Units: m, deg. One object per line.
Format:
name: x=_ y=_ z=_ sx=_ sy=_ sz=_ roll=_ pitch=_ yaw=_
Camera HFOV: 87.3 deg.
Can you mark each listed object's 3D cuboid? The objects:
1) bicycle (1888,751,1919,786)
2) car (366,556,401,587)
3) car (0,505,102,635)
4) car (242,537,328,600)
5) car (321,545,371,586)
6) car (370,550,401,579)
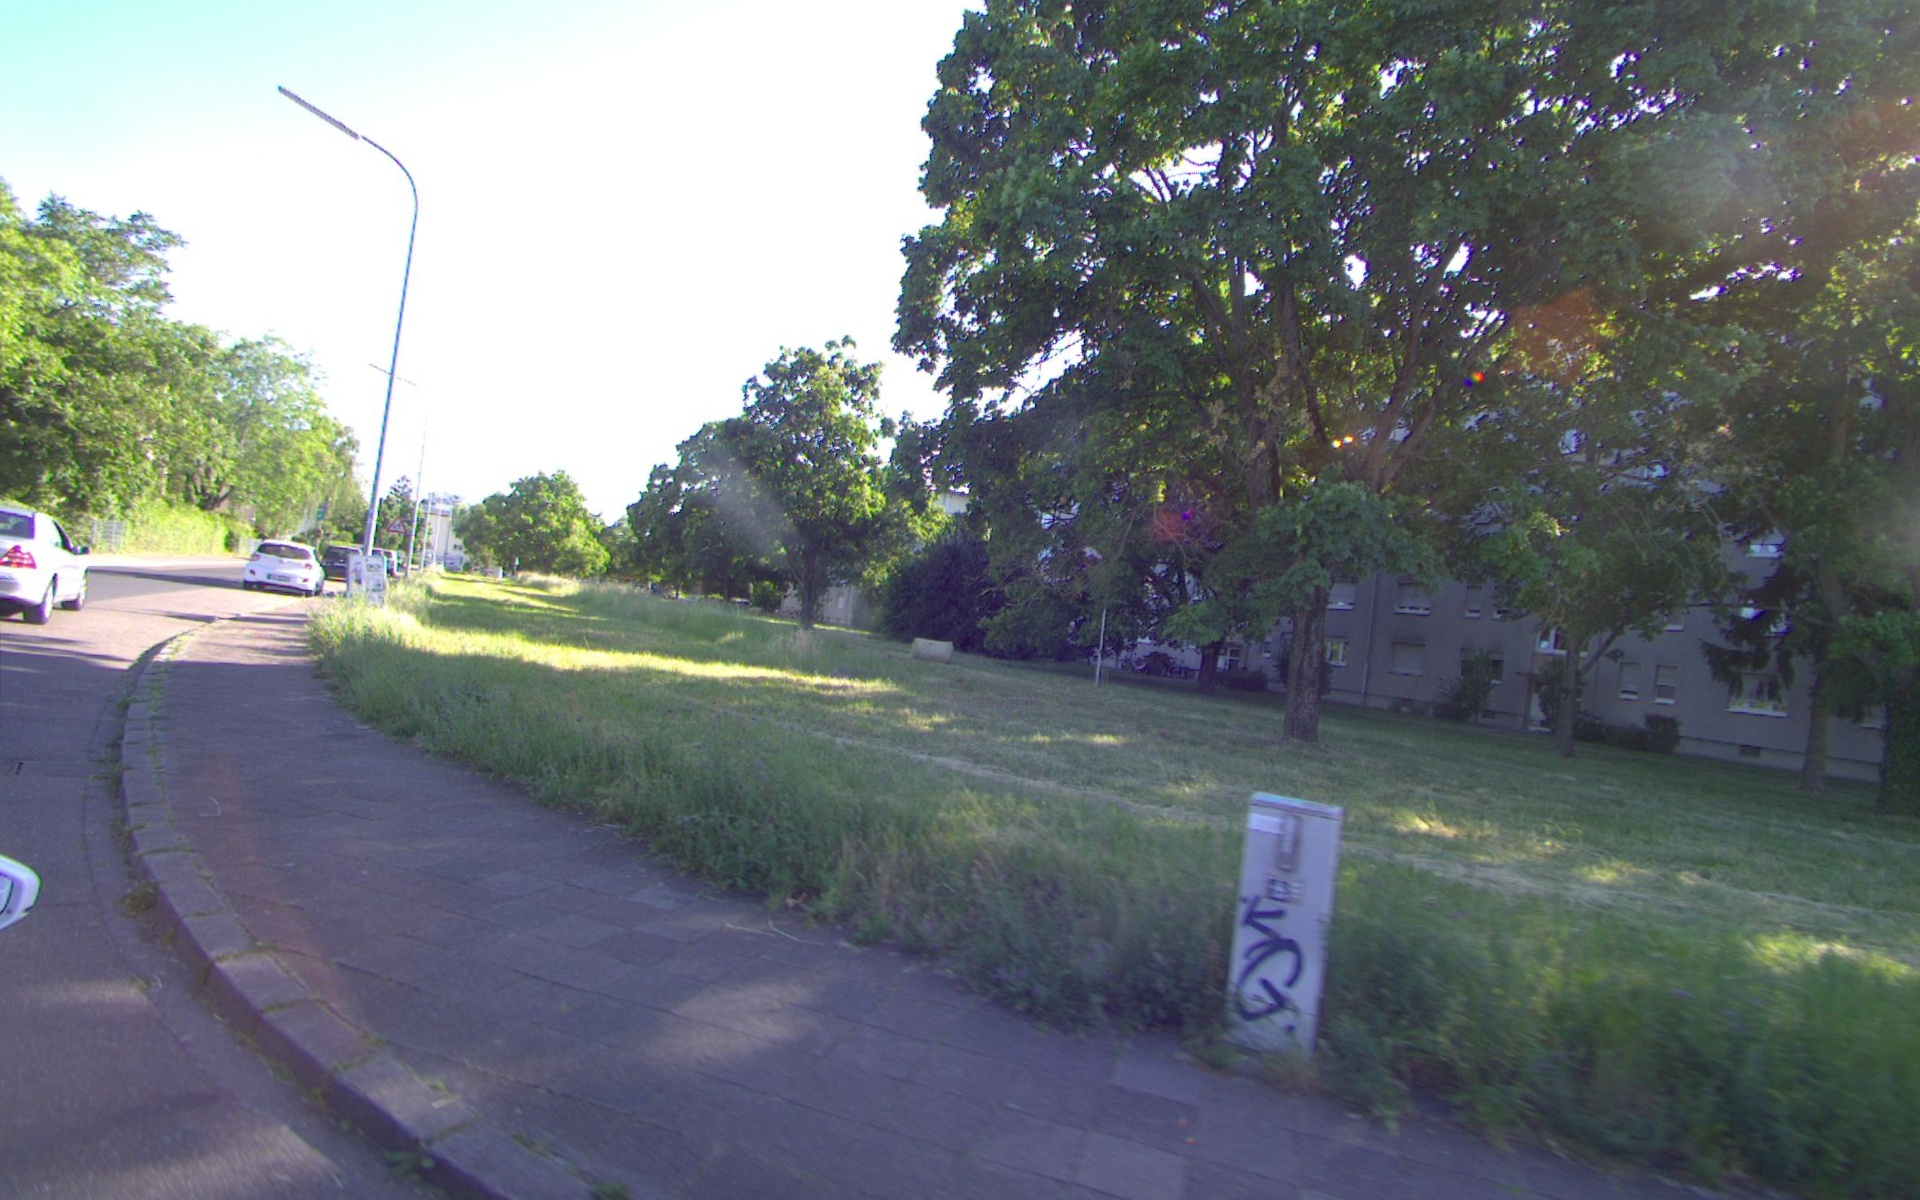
bicycle: x=25.941 y=4.581 z=27.046 sx=1.651 sy=0.856 sz=0.513 roll=7 pitch=-3 yaw=-9
car: x=-38.430 y=-1.936 z=67.164 sx=1.686 sy=1.779 sz=3.824 roll=10 pitch=-2 yaw=-28
car: x=-13.032 y=-0.538 z=13.530 sx=1.808 sy=1.480 sz=4.318 roll=9 pitch=-2 yaw=-36
car: x=-19.704 y=-0.917 z=29.478 sx=1.710 sy=1.495 sz=3.712 roll=9 pitch=-3 yaw=-31
car: x=-28.712 y=-1.617 z=47.146 sx=1.685 sy=1.630 sz=3.971 roll=7 pitch=-1 yaw=-29
car: x=-43.348 y=-2.659 z=75.936 sx=1.686 sy=1.872 sz=3.824 roll=10 pitch=-2 yaw=-28
